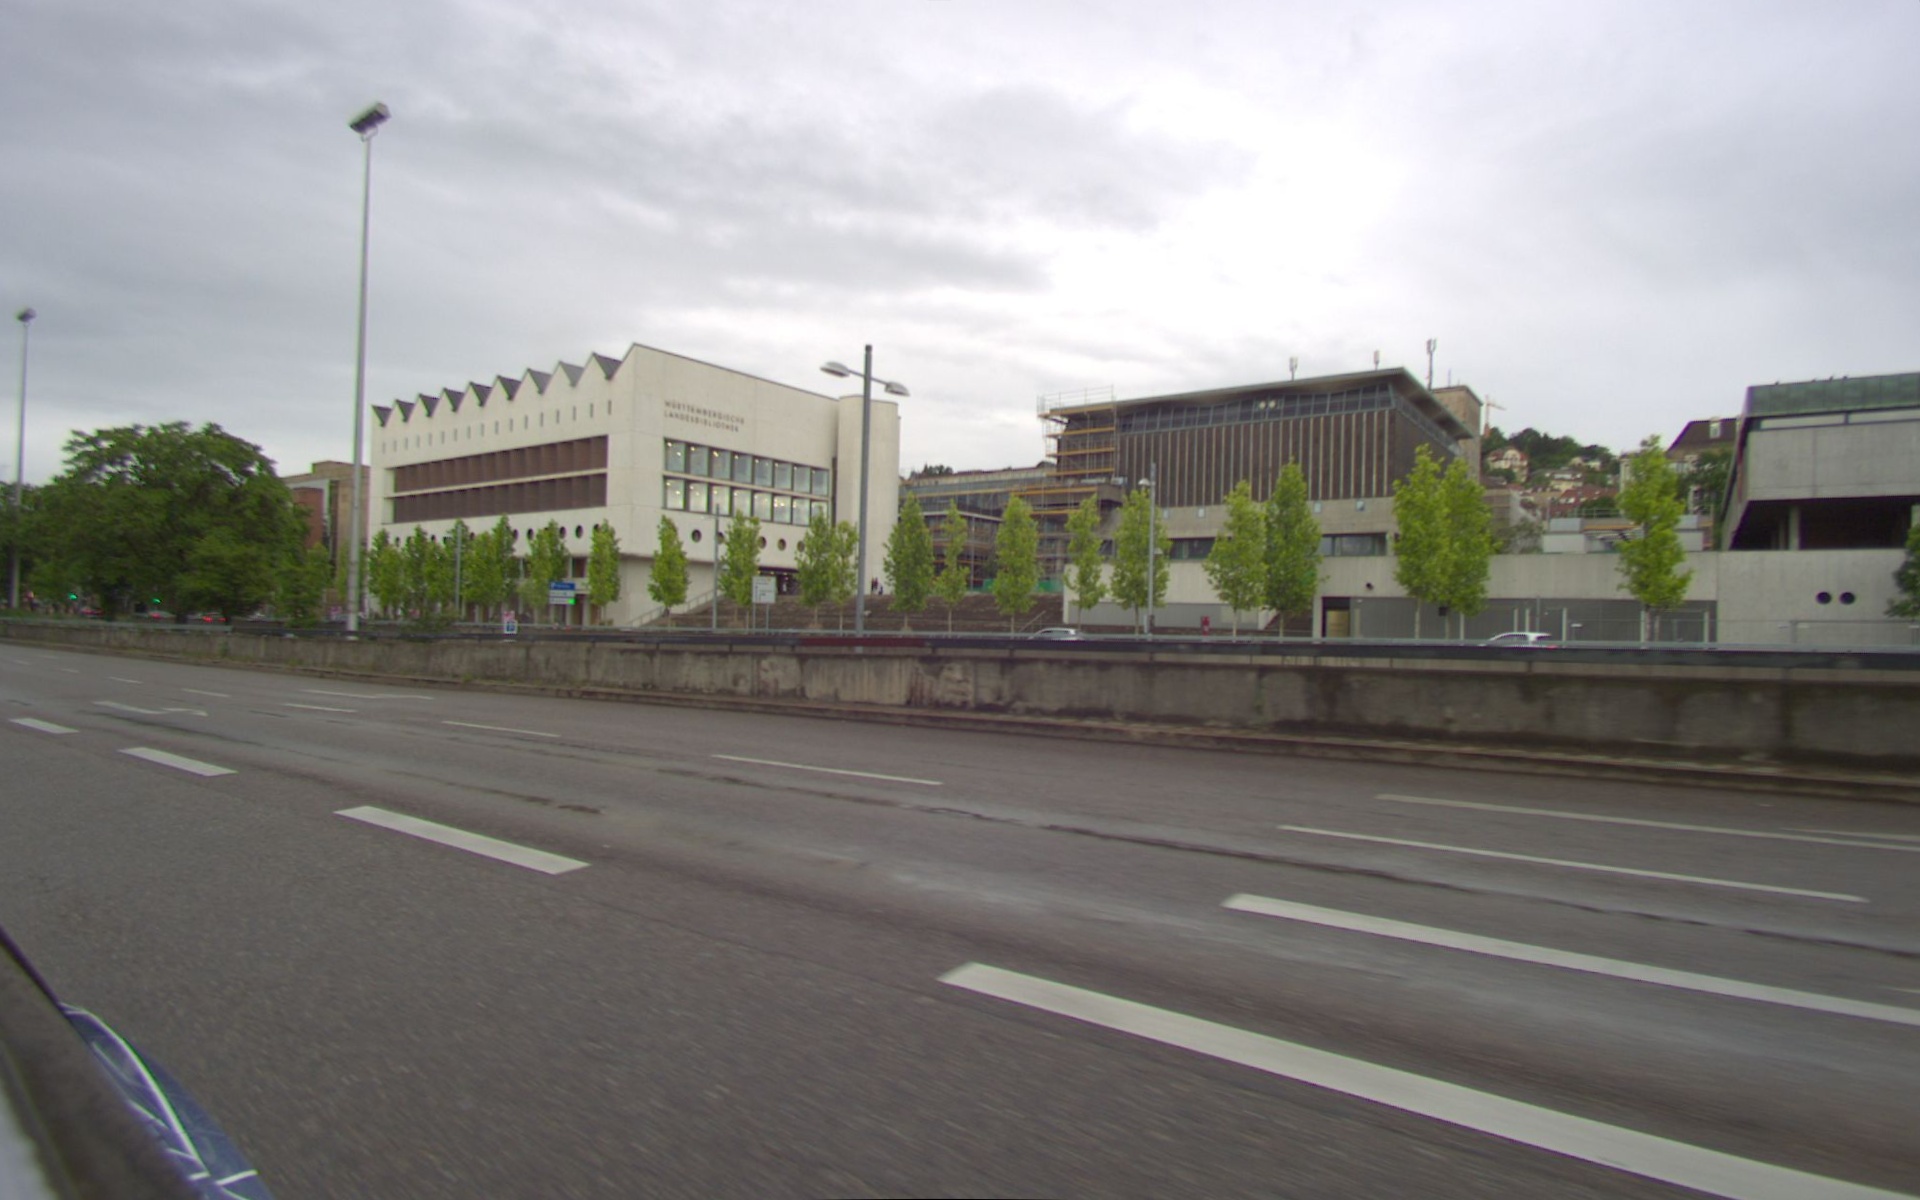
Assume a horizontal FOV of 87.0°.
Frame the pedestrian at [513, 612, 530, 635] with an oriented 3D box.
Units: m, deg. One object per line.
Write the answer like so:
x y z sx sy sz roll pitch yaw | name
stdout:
-36.575 1.952 84.381 0.830 1.880 1.073 1 0 43 | pedestrian

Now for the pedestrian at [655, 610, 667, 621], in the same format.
-26.060 1.344 88.233 0.628 0.894 0.799 1 0 39 | pedestrian

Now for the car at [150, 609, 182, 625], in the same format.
-81.499 1.703 103.843 3.468 1.567 1.679 1 0 35 | car

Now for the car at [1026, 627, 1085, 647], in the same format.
4.192 1.617 44.589 2.547 0.751 0.812 1 0 34 | car

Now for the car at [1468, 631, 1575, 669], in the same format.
19.000 1.651 34.273 3.016 1.122 1.427 1 0 37 | car

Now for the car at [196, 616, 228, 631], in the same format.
-68.665 2.129 92.883 3.538 1.236 1.550 1 0 39 | car
